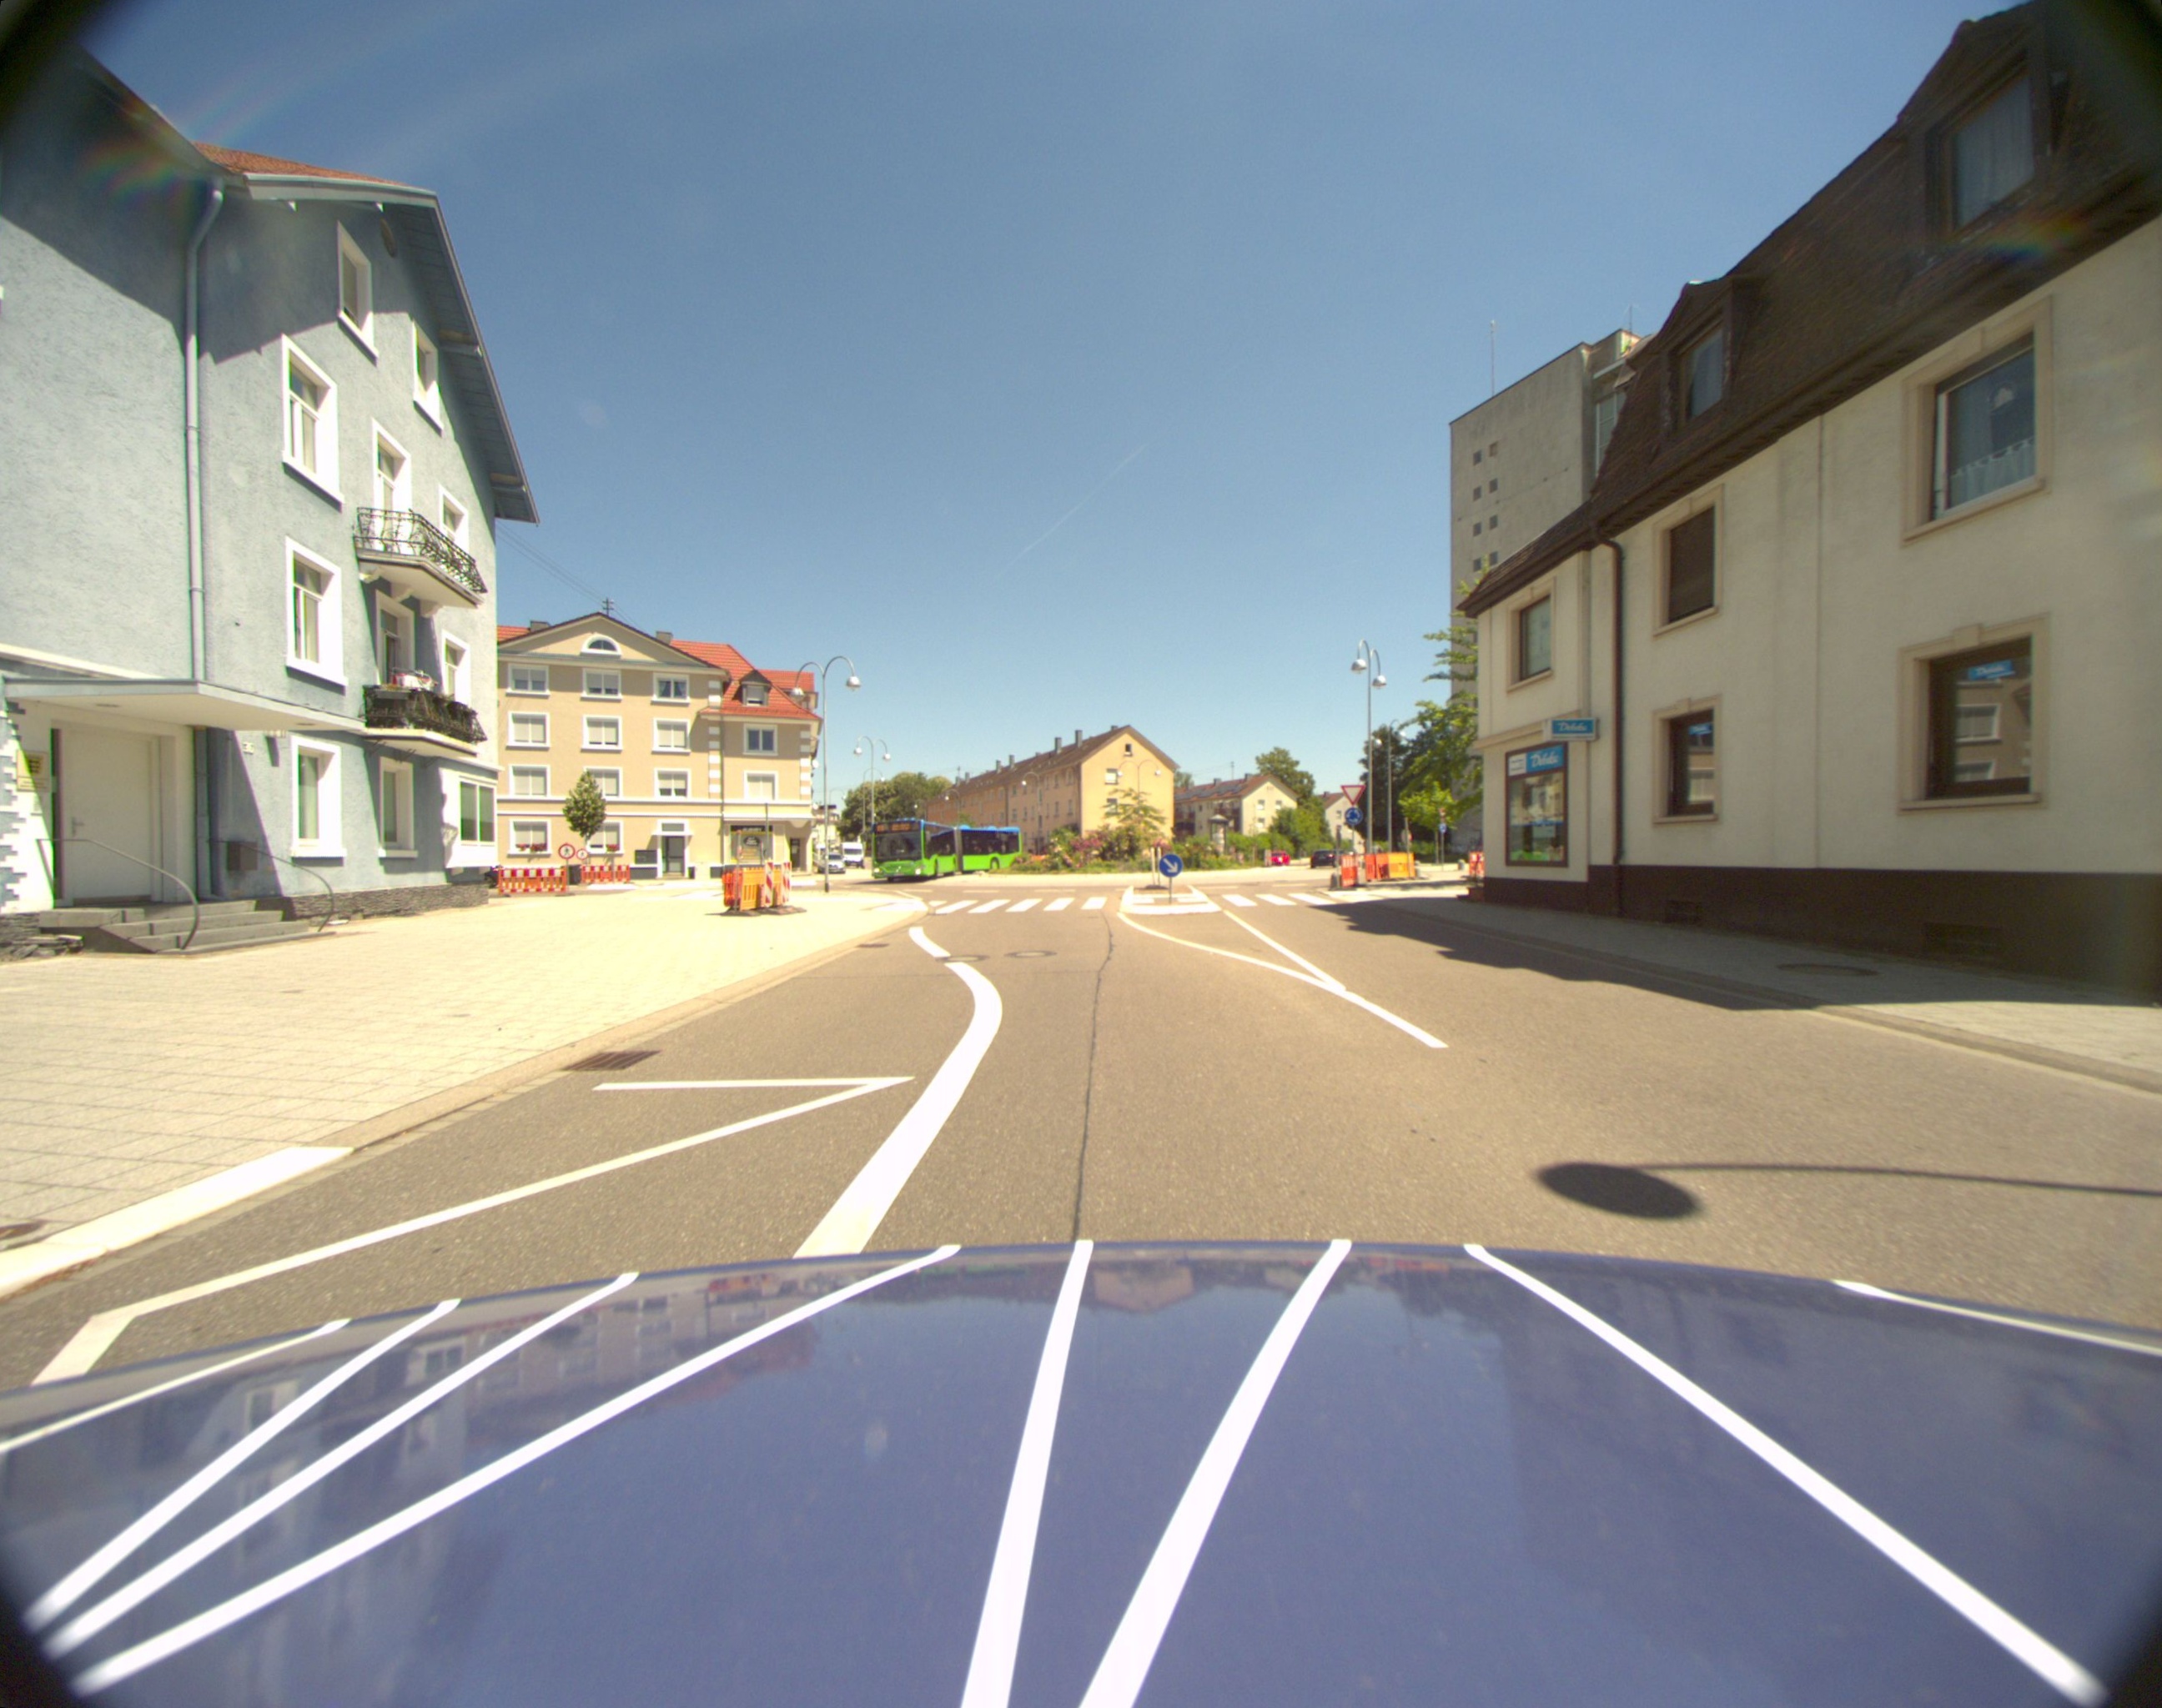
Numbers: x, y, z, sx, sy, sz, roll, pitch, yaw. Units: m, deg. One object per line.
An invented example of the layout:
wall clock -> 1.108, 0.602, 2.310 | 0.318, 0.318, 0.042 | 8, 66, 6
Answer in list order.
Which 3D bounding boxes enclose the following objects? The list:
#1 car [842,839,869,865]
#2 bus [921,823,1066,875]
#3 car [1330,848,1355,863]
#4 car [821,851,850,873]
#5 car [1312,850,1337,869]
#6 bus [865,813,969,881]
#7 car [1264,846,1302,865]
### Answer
car -> -22.321, -0.151, 75.117 | 2.344, 2.442, 5.725 | 1, 0, -18
bus -> -5.499, -0.374, 51.754 | 2.923, 3.044, 12.585 | -2, 0, 29
car -> 25.815, 0.139, 74.902 | 1.780, 1.347, 4.061 | 0, 0, 28
car -> -17.097, 0.527, 52.962 | 1.828, 1.403, 3.993 | 1, 1, -17
car -> 18.243, 0.361, 57.007 | 1.728, 1.288, 4.005 | -2, 0, 17
bus -> -8.550, -0.308, 41.561 | 2.911, 3.062, 12.561 | -2, 0, 0
car -> 18.352, 0.166, 69.005 | 1.731, 1.592, 3.944 | -1, 1, 40
